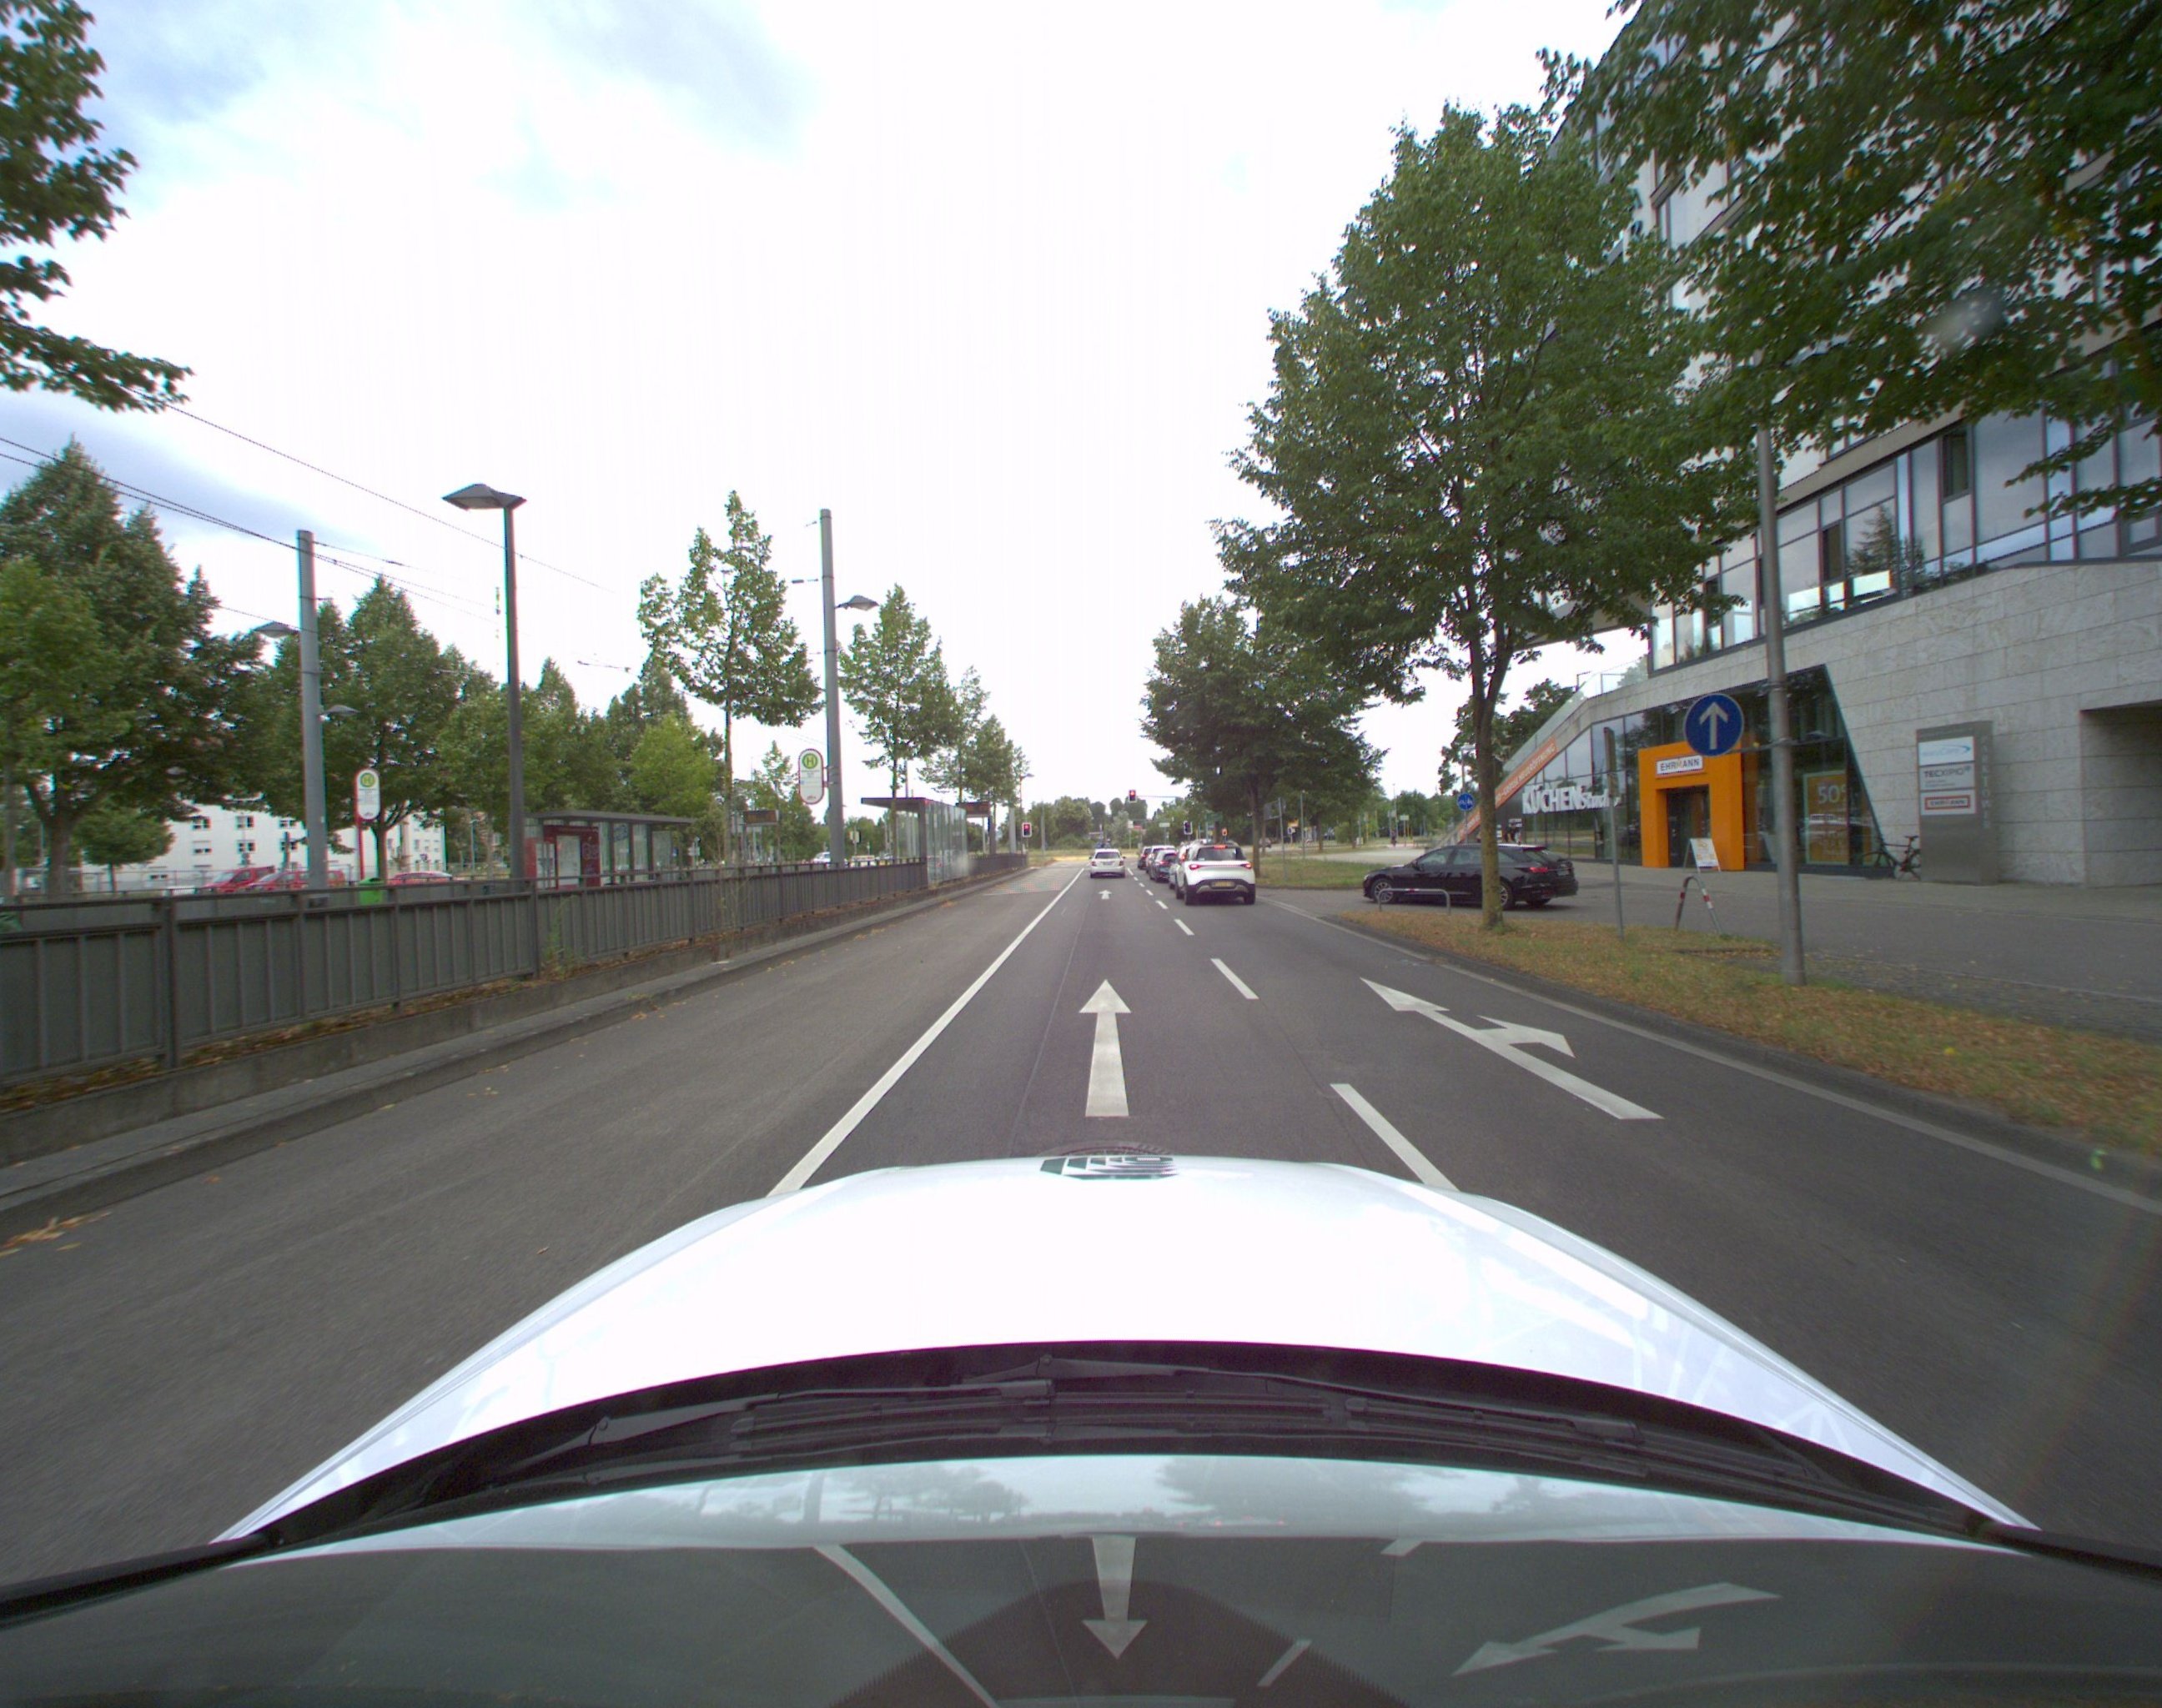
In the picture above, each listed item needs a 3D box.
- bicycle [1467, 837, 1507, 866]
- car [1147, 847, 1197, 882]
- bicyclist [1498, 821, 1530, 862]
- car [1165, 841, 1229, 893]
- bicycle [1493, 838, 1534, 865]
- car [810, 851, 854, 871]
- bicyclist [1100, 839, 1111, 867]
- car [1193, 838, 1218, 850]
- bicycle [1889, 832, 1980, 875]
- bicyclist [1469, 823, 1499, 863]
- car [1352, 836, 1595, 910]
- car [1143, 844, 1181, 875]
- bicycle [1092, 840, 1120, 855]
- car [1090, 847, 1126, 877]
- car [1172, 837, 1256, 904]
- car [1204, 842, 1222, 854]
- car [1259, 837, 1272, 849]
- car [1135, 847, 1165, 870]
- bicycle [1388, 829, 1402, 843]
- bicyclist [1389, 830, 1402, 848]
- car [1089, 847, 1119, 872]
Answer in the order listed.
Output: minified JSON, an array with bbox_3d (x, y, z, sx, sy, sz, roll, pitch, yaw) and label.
[{"bbox_3d":[16.499,-0.112,33.155,0.671,1.143,2.008,-2,1,2],"label":"bicycle"},{"bbox_3d":[4.072,0.443,37.122,1.782,1.432,4.310,-2,0,0],"label":"car"},{"bbox_3d":[17.747,-0.510,33.420,0.722,1.582,0.990,-4,0,1],"label":"bicyclist"},{"bbox_3d":[4.069,0.412,29.101,1.772,1.656,4.025,-2,0,2],"label":"car"},{"bbox_3d":[17.782,-0.109,33.541,0.671,1.042,2.008,-2,1,2],"label":"bicycle"},{"bbox_3d":[-21.290,0.620,69.502,2.010,1.618,4.334,-2,1,-39],"label":"car"},{"bbox_3d":[1.716,-0.050,57.661,0.726,1.884,0.735,-2,5,0],"label":"bicyclist"},{"bbox_3d":[22.466,-1.796,147.003,1.975,2.013,5.030,-2,1,44],"label":"car"},{"bbox_3d":[19.351,-0.024,18.498,0.516,0.910,1.494,-2,0,2],"label":"bicycle"},{"bbox_3d":[16.468,-0.440,33.282,0.722,1.582,0.990,-2,0,1],"label":"bicyclist"},{"bbox_3d":[9.033,0.406,19.185,1.955,1.475,4.820,-2,0,-33],"label":"car"},{"bbox_3d":[4.450,0.271,45.238,1.780,1.624,3.913,-2,0,2],"label":"car"},{"bbox_3d":[1.752,-0.457,57.421,1.927,0.984,0.564,-2,0,0],"label":"bicycle"},{"bbox_3d":[1.352,0.397,42.095,1.768,1.448,3.910,-1,0,0],"label":"car"},{"bbox_3d":[3.623,0.401,22.759,1.772,1.656,4.025,-2,0,2],"label":"car"},{"bbox_3d":[20.401,-0.958,126.017,1.989,1.791,3.995,0,0,-3],"label":"car"},{"bbox_3d":[27.251,-1.657,120.392,1.771,1.636,4.416,-2,0,12],"label":"car"},{"bbox_3d":[4.469,0.254,53.045,1.619,1.448,3.910,-1,0,0],"label":"car"},{"bbox_3d":[33.206,-1.879,86.066,0.702,1.505,2.008,0,0,1],"label":"bicycle"},{"bbox_3d":[33.197,-1.585,86.043,0.863,1.789,1.175,-2,0,0],"label":"bicyclist"},{"bbox_3d":[1.368,0.307,50.369,1.768,1.448,3.910,-1,0,0],"label":"car"}]
